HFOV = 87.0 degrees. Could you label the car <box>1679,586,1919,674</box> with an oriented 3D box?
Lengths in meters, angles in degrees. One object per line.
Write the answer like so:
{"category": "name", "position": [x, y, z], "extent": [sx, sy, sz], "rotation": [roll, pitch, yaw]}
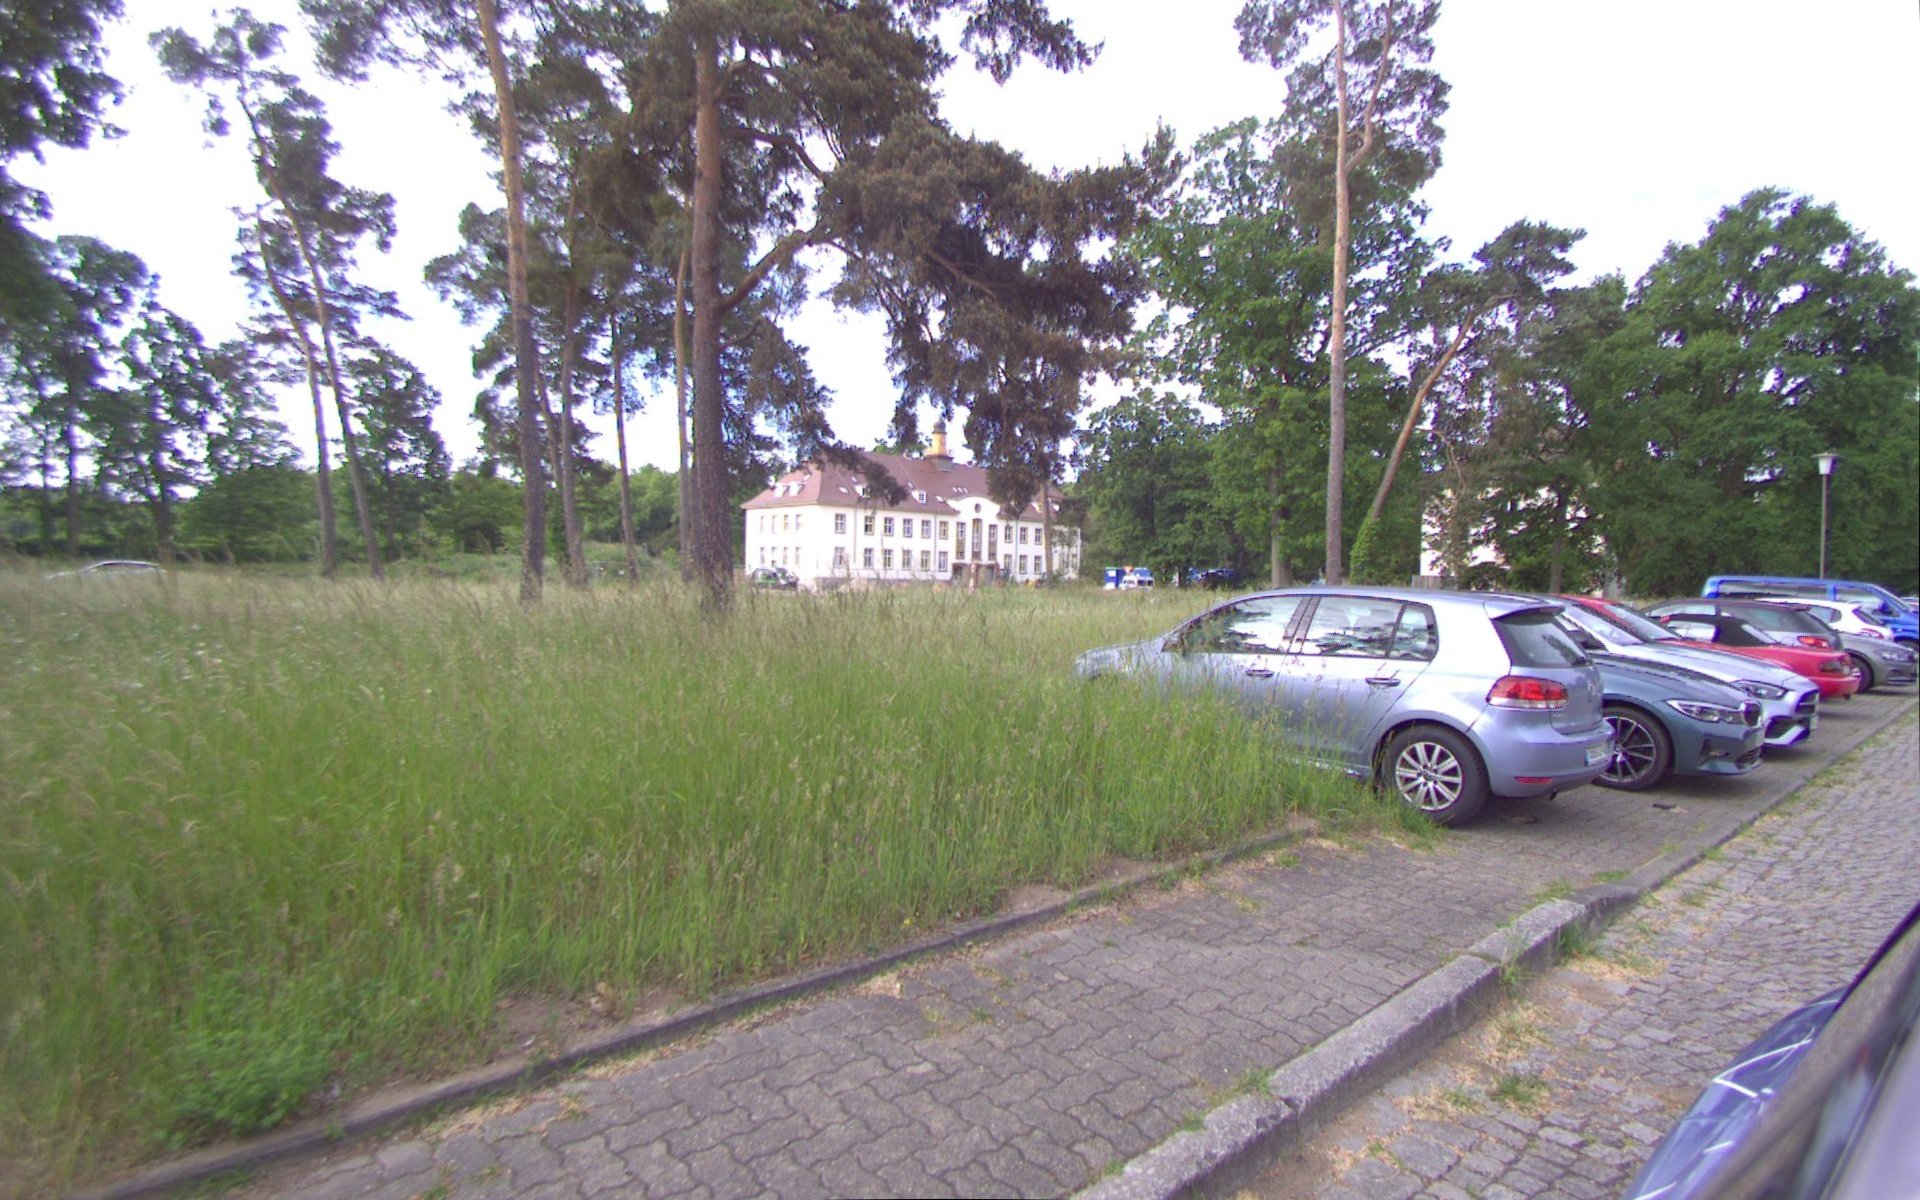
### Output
{"category": "car", "position": [16.262, 0.514, 19.692], "extent": [1.608, 1.470, 3.407], "rotation": [0, 2, -40]}

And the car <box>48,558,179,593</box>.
{"category": "car", "position": [-36.707, -1.051, 43.957], "extent": [1.881, 1.433, 4.192], "rotation": [2, 2, 42]}

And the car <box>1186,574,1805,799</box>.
{"category": "car", "position": [4.611, 0.553, 9.360], "extent": [1.733, 1.501, 4.761], "rotation": [0, 2, -44]}

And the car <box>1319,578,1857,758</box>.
{"category": "car", "position": [6.656, 0.551, 11.247], "extent": [1.781, 1.501, 4.766], "rotation": [0, 2, -41]}

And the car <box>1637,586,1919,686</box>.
{"category": "car", "position": [14.351, 0.533, 17.660], "extent": [1.787, 1.474, 3.849], "rotation": [0, 2, -39]}

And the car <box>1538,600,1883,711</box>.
{"category": "car", "position": [10.254, 0.672, 14.034], "extent": [1.468, 1.222, 3.599], "rotation": [1, 1, -40]}

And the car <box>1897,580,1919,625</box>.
{"category": "car", "position": [45.038, 0.150, 45.521], "extent": [1.965, 2.038, 3.996], "rotation": [0, 2, -40]}

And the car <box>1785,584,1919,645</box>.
{"category": "car", "position": [26.632, 0.398, 29.281], "extent": [1.965, 1.630, 3.995], "rotation": [0, 2, -41]}

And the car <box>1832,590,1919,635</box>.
{"category": "car", "position": [34.026, 0.428, 36.250], "extent": [1.965, 1.549, 3.994], "rotation": [0, 0, -41]}

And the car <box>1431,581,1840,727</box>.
{"category": "car", "position": [8.349, 0.540, 12.788], "extent": [1.769, 1.470, 3.969], "rotation": [0, 2, -41]}

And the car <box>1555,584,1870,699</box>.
{"category": "car", "position": [11.895, 0.554, 16.161], "extent": [1.769, 1.524, 3.781], "rotation": [0, 2, -43]}

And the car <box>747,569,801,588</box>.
{"category": "car", "position": [-20.111, -2.333, 109.192], "extent": [6.169, 1.882, 2.305], "rotation": [2, 2, 40]}

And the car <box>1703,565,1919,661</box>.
{"category": "car", "position": [20.236, 0.250, 23.249], "extent": [1.965, 1.963, 4.746], "rotation": [0, 3, -41]}

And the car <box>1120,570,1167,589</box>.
{"category": "car", "position": [19.747, -2.180, 108.712], "extent": [5.130, 2.038, 2.154], "rotation": [0, 2, -39]}

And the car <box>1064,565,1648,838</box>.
{"category": "car", "position": [2.731, 0.525, 7.635], "extent": [1.578, 1.444, 3.770], "rotation": [1, 3, -42]}

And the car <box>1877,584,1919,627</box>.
{"category": "car", "position": [41.666, 0.259, 42.814], "extent": [1.965, 1.784, 4.006], "rotation": [0, 2, -40]}
